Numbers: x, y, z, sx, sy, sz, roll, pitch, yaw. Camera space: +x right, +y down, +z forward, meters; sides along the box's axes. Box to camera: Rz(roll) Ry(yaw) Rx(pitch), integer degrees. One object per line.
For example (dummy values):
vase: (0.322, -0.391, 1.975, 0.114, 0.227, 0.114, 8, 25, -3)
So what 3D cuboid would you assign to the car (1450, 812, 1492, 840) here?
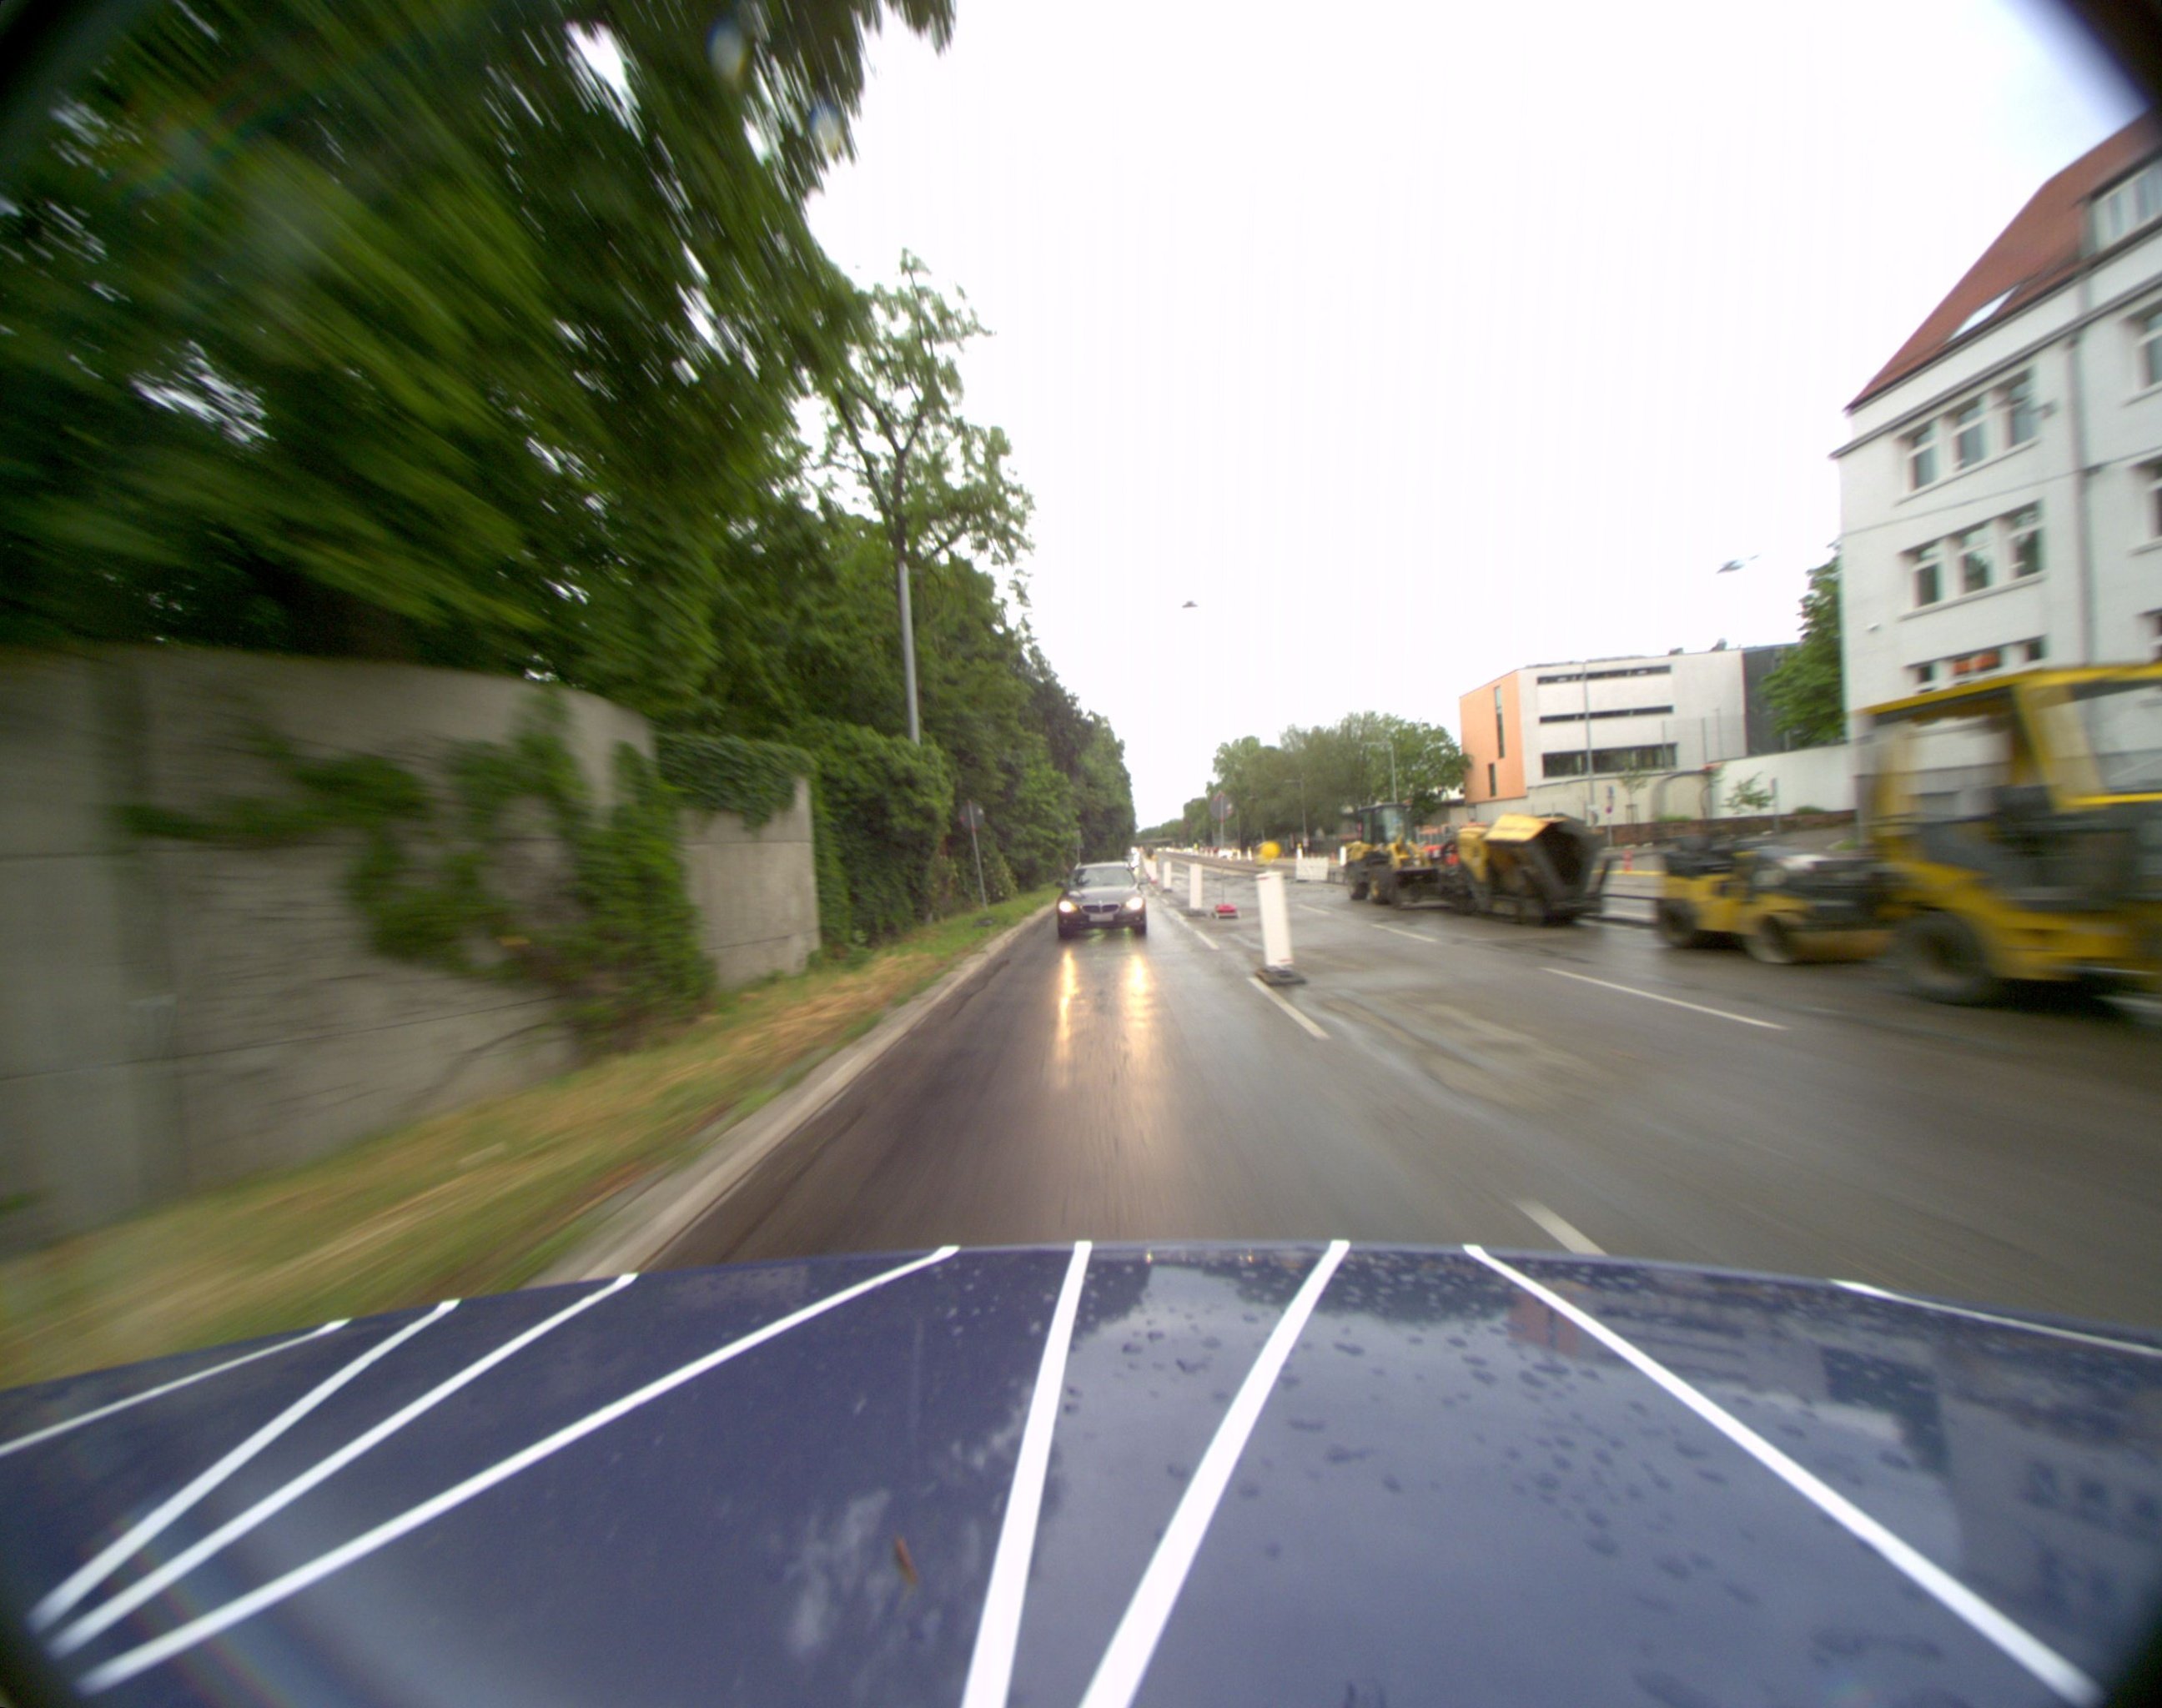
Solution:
car: (32.947, -2.325, 64.283, 1.613, 2.158, 4.000, -4, 1, 4)

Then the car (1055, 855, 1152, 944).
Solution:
car: (0.609, 0.863, 16.627, 1.742, 1.454, 4.459, -5, 1, 5)

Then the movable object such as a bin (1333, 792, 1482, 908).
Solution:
movable object such as a bin: (8.513, -0.119, 20.423, 1.906, 2.594, 5.384, -4, 1, 4)

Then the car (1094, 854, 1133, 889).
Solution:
car: (1.775, 0.854, 39.654, 1.742, 1.454, 4.459, -5, 1, 5)

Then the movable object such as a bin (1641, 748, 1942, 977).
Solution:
movable object such as a bin: (8.467, 0.082, 9.303, 1.414, 2.387, 2.405, -2, 1, 1)

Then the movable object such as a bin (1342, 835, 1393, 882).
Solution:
movable object such as a bin: (10.906, 0.136, 29.049, 1.086, 1.635, 2.439, -4, 1, 4)

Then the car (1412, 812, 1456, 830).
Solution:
car: (39.191, -3.658, 84.409, 4.013, 1.519, 2.003, -4, 1, 43)

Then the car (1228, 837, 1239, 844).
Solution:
car: (31.807, -2.855, 158.480, 1.557, 1.360, 3.805, -3, 1, 4)

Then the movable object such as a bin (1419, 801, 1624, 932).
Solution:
movable object such as a bin: (8.416, 0.183, 15.096, 1.365, 2.078, 5.031, -4, 0, 4)

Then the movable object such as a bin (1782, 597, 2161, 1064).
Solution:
movable object such as a bin: (7.706, -0.175, 5.730, 1.469, 2.991, 3.724, -2, 1, 3)
